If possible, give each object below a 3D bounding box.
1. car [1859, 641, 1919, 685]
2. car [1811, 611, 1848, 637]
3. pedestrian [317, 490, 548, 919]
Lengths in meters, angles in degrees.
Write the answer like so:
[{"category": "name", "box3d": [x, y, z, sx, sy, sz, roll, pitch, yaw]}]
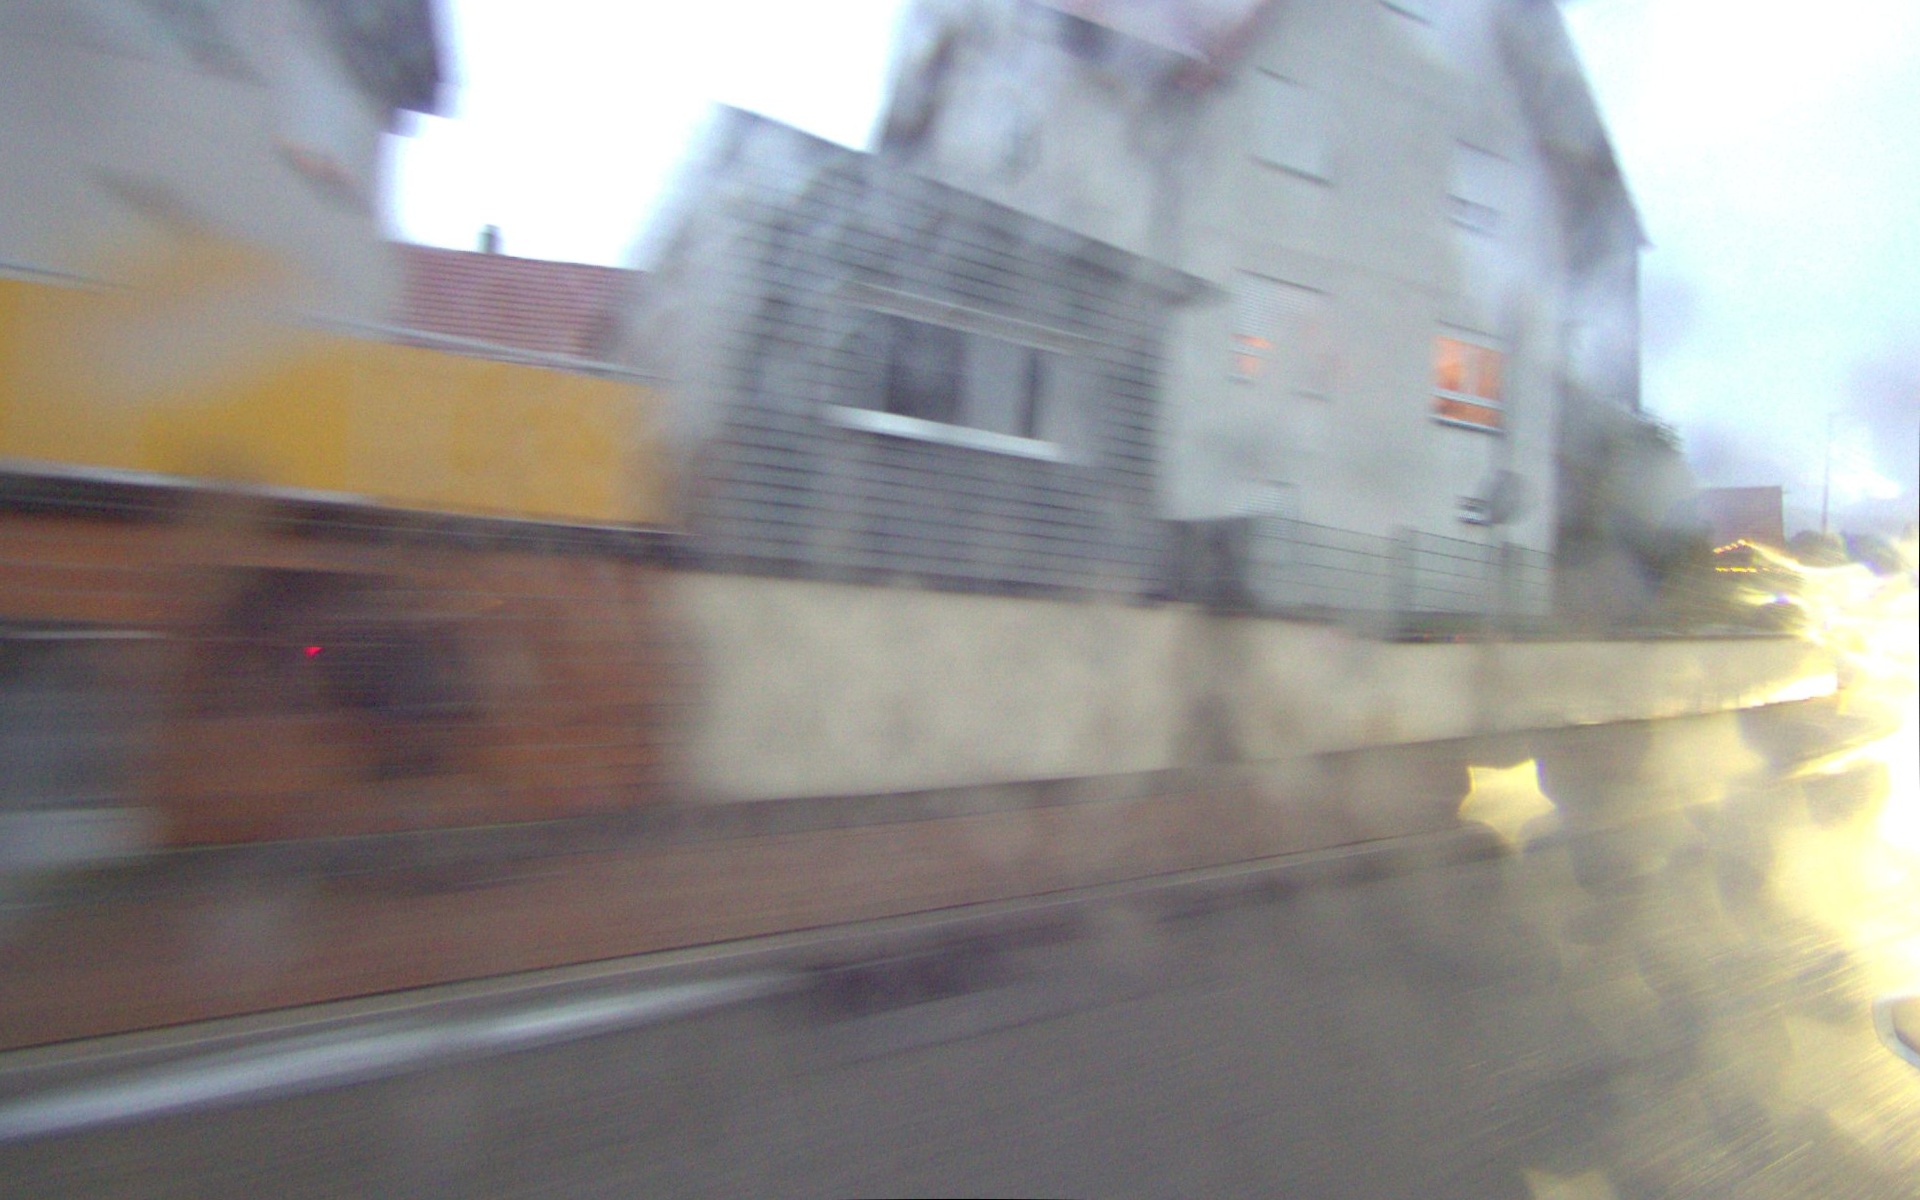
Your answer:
[{"category": "car", "box3d": [34.273, 2.288, 36.963, 1.599, 1.457, 3.640, 1, -1, 39]}, {"category": "car", "box3d": [55.805, 1.533, 64.509, 1.663, 1.605, 4.157, 1, -1, 39]}, {"category": "pedestrian", "box3d": [-2.375, 0.437, 4.554, 0.802, 1.756, 0.595, 3, 1, -29]}]
